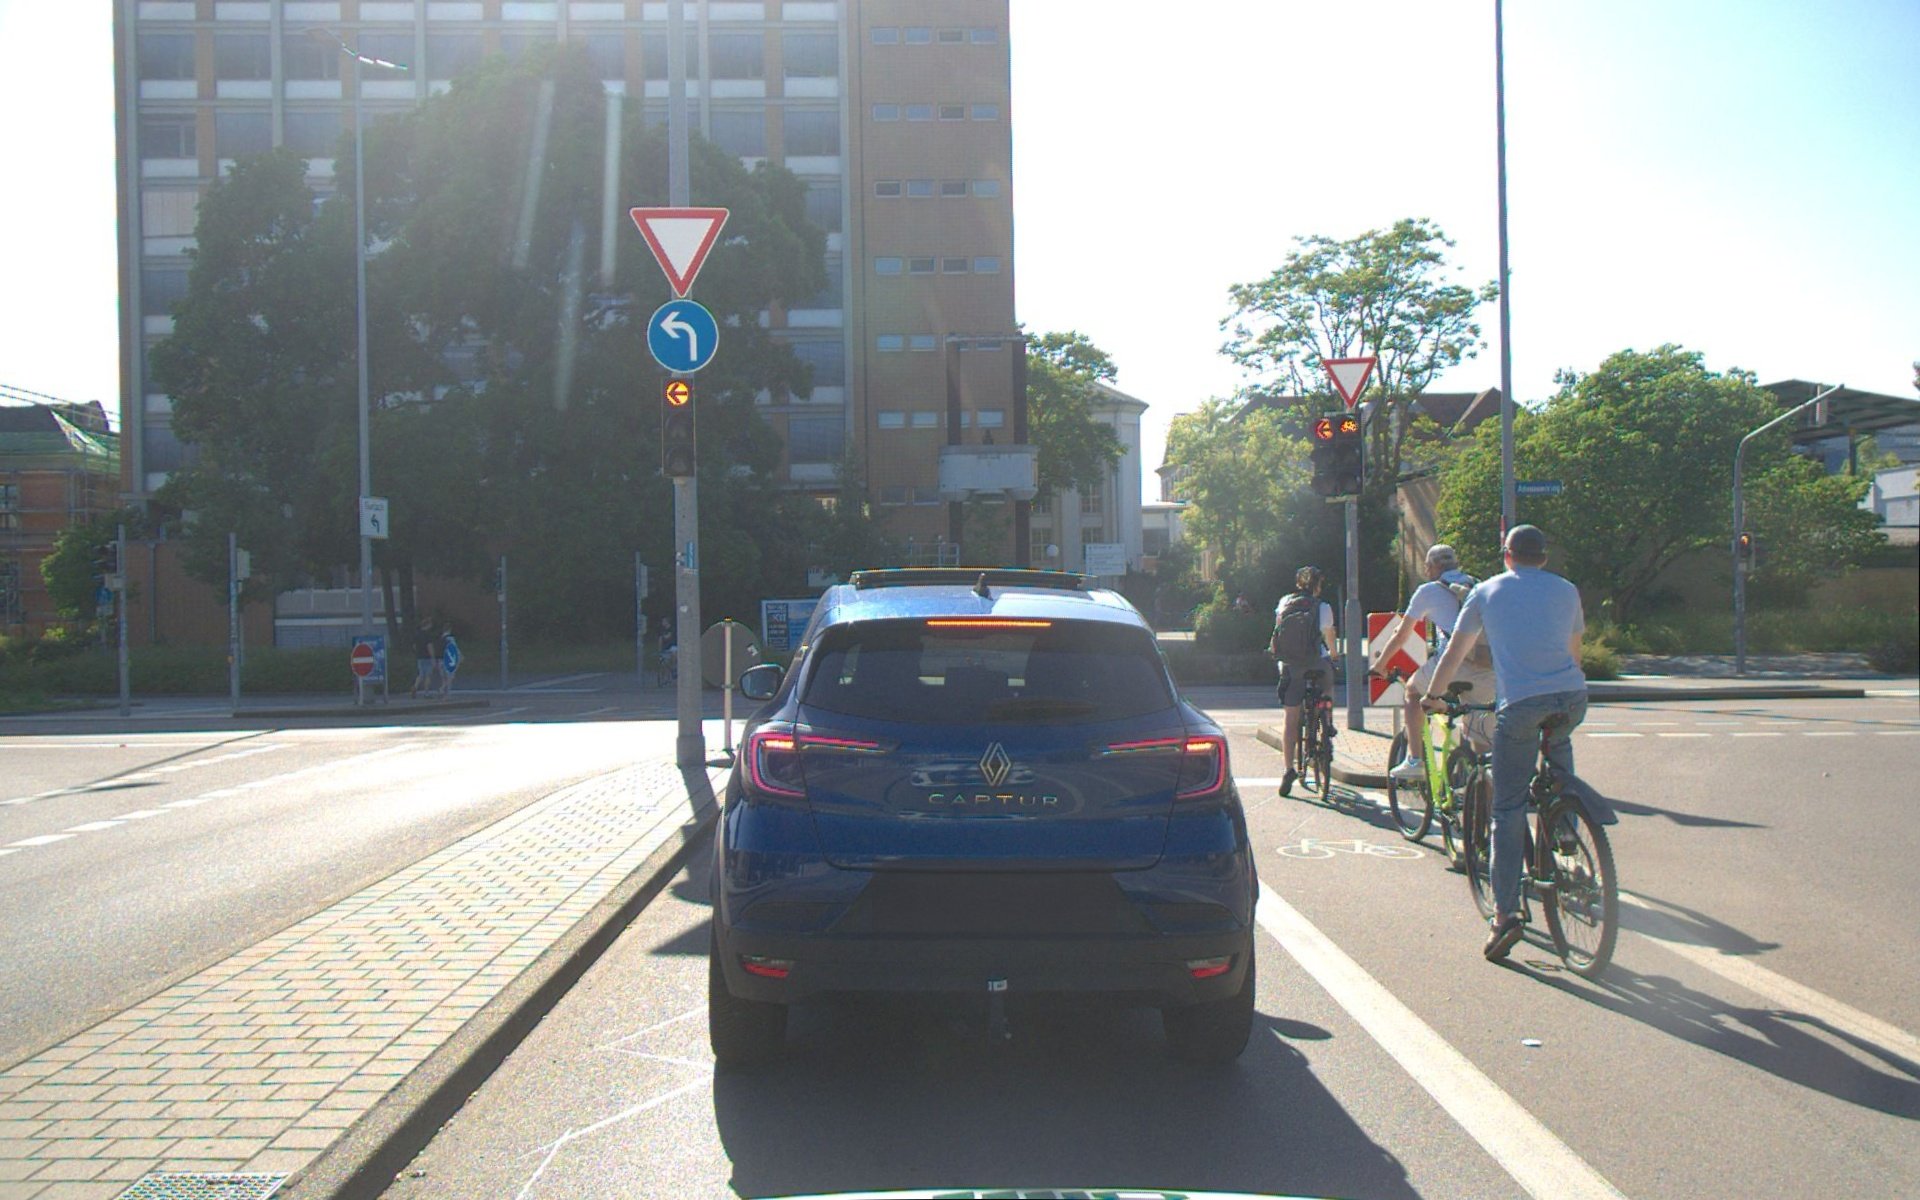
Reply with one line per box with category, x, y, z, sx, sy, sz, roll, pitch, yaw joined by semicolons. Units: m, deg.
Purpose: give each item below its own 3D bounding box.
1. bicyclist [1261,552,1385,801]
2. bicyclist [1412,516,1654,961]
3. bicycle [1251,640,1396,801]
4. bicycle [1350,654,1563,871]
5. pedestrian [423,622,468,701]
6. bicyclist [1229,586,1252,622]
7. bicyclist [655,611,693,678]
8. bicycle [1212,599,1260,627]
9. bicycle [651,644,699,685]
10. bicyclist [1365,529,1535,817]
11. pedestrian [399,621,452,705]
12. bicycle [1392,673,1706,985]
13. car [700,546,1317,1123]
bicyclist;2.763;0.559;12.688;0.685;1.822;1.142;0;0;-1
bicyclist;2.503;0.567;7.345;0.669;1.822;1.142;0;0;-1
bicycle;2.776;0.886;12.814;0.675;1.108;1.922;0;0;-1
bicycle;2.913;0.910;9.905;0.675;1.108;1.922;0;0;-1
pedestrian;-11.646;1.383;37.461;0.666;1.761;0.761;-1;0;13
bicyclist;11.997;0.176;70.763;0.687;1.507;0.710;-1;0;-29
bicyclist;-7.548;1.163;43.661;0.739;1.746;0.999;-1;0;5
bicycle;11.830;0.553;71.078;0.687;1.160;2.417;-1;0;-29
bicycle;-7.528;1.696;43.763;0.739;1.002;2.095;-1;0;5
bicyclist;2.911;0.413;9.924;0.664;1.622;1.142;0;0;-1
pedestrian;-12.322;1.446;38.130;0.796;1.895;0.910;-1;0;13
bicycle;2.508;0.918;7.295;0.675;1.108;1.922;0;0;-1
car;0.057;0.661;6.638;1.753;1.613;3.912;0;0;-3
